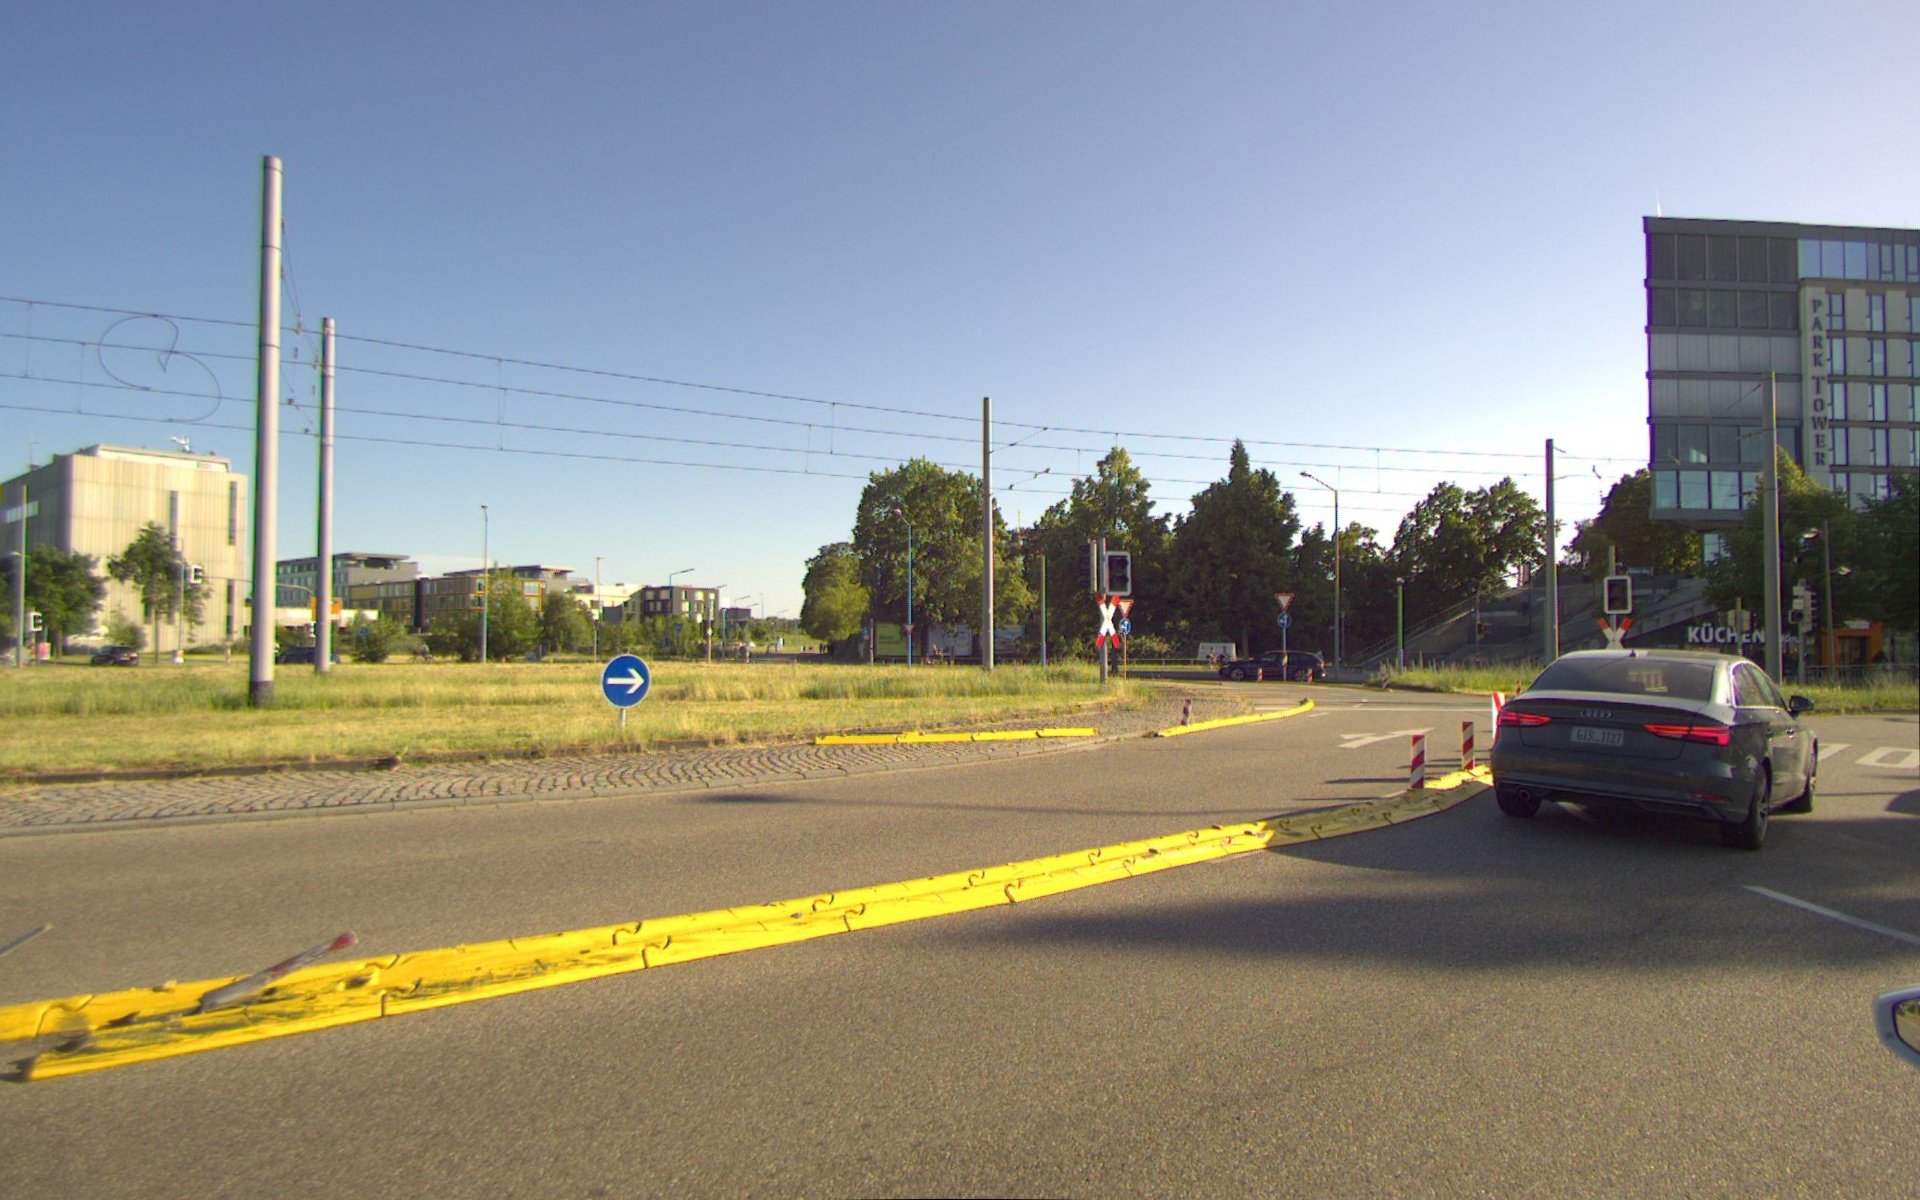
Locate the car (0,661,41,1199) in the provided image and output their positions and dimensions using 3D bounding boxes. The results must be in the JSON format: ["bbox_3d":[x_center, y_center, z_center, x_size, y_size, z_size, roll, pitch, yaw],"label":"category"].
[{"bbox_3d":[-4.343,0.860,0.845,4.937,1.462,1.791,0,-1,-18],"label":"car"}]

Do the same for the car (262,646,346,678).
[{"bbox_3d":[-37.624,3.552,57.616,3.838,1.808,1.776,-1,-2,11],"label":"car"}]

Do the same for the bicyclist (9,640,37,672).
[{"bbox_3d":[-51.606,3.065,55.303,0.691,1.685,0.941,0,-1,27],"label":"bicyclist"}]

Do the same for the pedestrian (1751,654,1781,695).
[{"bbox_3d":[29.991,2.776,37.398,0.665,1.485,0.555,1,-1,-8],"label":"pedestrian"}]

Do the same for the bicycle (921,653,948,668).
[{"bbox_3d":[-1.850,4.389,73.119,1.833,1.025,0.587,0,-1,16],"label":"bicycle"}]

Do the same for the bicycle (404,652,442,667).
[{"bbox_3d":[-37.610,4.177,70.339,2.220,1.001,0.662,0,-2,-7],"label":"bicycle"}]

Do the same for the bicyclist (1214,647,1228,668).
[{"bbox_3d":[18.452,4.066,71.086,0.709,1.410,0.613,0,-2,-25],"label":"bicyclist"}]

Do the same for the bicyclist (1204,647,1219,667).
[{"bbox_3d":[17.985,4.074,71.934,0.826,1.410,0.613,0,-2,-26],"label":"bicyclist"}]

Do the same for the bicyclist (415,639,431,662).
[{"bbox_3d":[-37.595,3.538,70.333,0.819,1.601,0.662,0,-2,-6],"label":"bicyclist"}]

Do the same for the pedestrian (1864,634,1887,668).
[{"bbox_3d":[54.959,3.053,60.310,0.818,2.040,0.640,0,-1,-4],"label":"pedestrian"}]

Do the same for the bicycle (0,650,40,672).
[{"bbox_3d":[-51.688,3.334,55.116,0.691,1.143,1.653,0,-1,27],"label":"bicycle"}]

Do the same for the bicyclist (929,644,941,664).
[{"bbox_3d":[-1.840,3.926,73.119,0.741,1.487,0.587,0,-1,16],"label":"bicyclist"}]

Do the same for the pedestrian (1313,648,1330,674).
[{"bbox_3d":[23.114,3.894,64.197,0.746,1.650,0.885,0,-2,-1],"label":"pedestrian"}]

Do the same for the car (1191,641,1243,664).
[{"bbox_3d":[20.776,4.228,81.261,3.688,1.829,1.830,-2,-3,40],"label":"car"}]

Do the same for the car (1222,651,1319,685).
[{"bbox_3d":[15.039,3.294,48.768,4.401,1.507,1.738,0,-2,18],"label":"car"}]

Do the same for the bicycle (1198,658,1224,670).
[{"bbox_3d":[17.979,4.565,71.889,1.864,0.864,0.613,1,-2,-26],"label":"bicycle"}]

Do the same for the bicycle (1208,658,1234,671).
[{"bbox_3d":[18.453,4.558,71.041,1.864,0.864,0.613,1,-2,-26],"label":"bicycle"}]

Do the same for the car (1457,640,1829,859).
[{"bbox_3d":[6.010,1.104,8.617,4.329,1.398,1.744,4,-4,-43],"label":"car"}]

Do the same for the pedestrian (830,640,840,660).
[{"bbox_3d":[-12.864,5.185,103.392,0.885,2.040,0.817,1,-1,-11],"label":"pedestrian"}]
